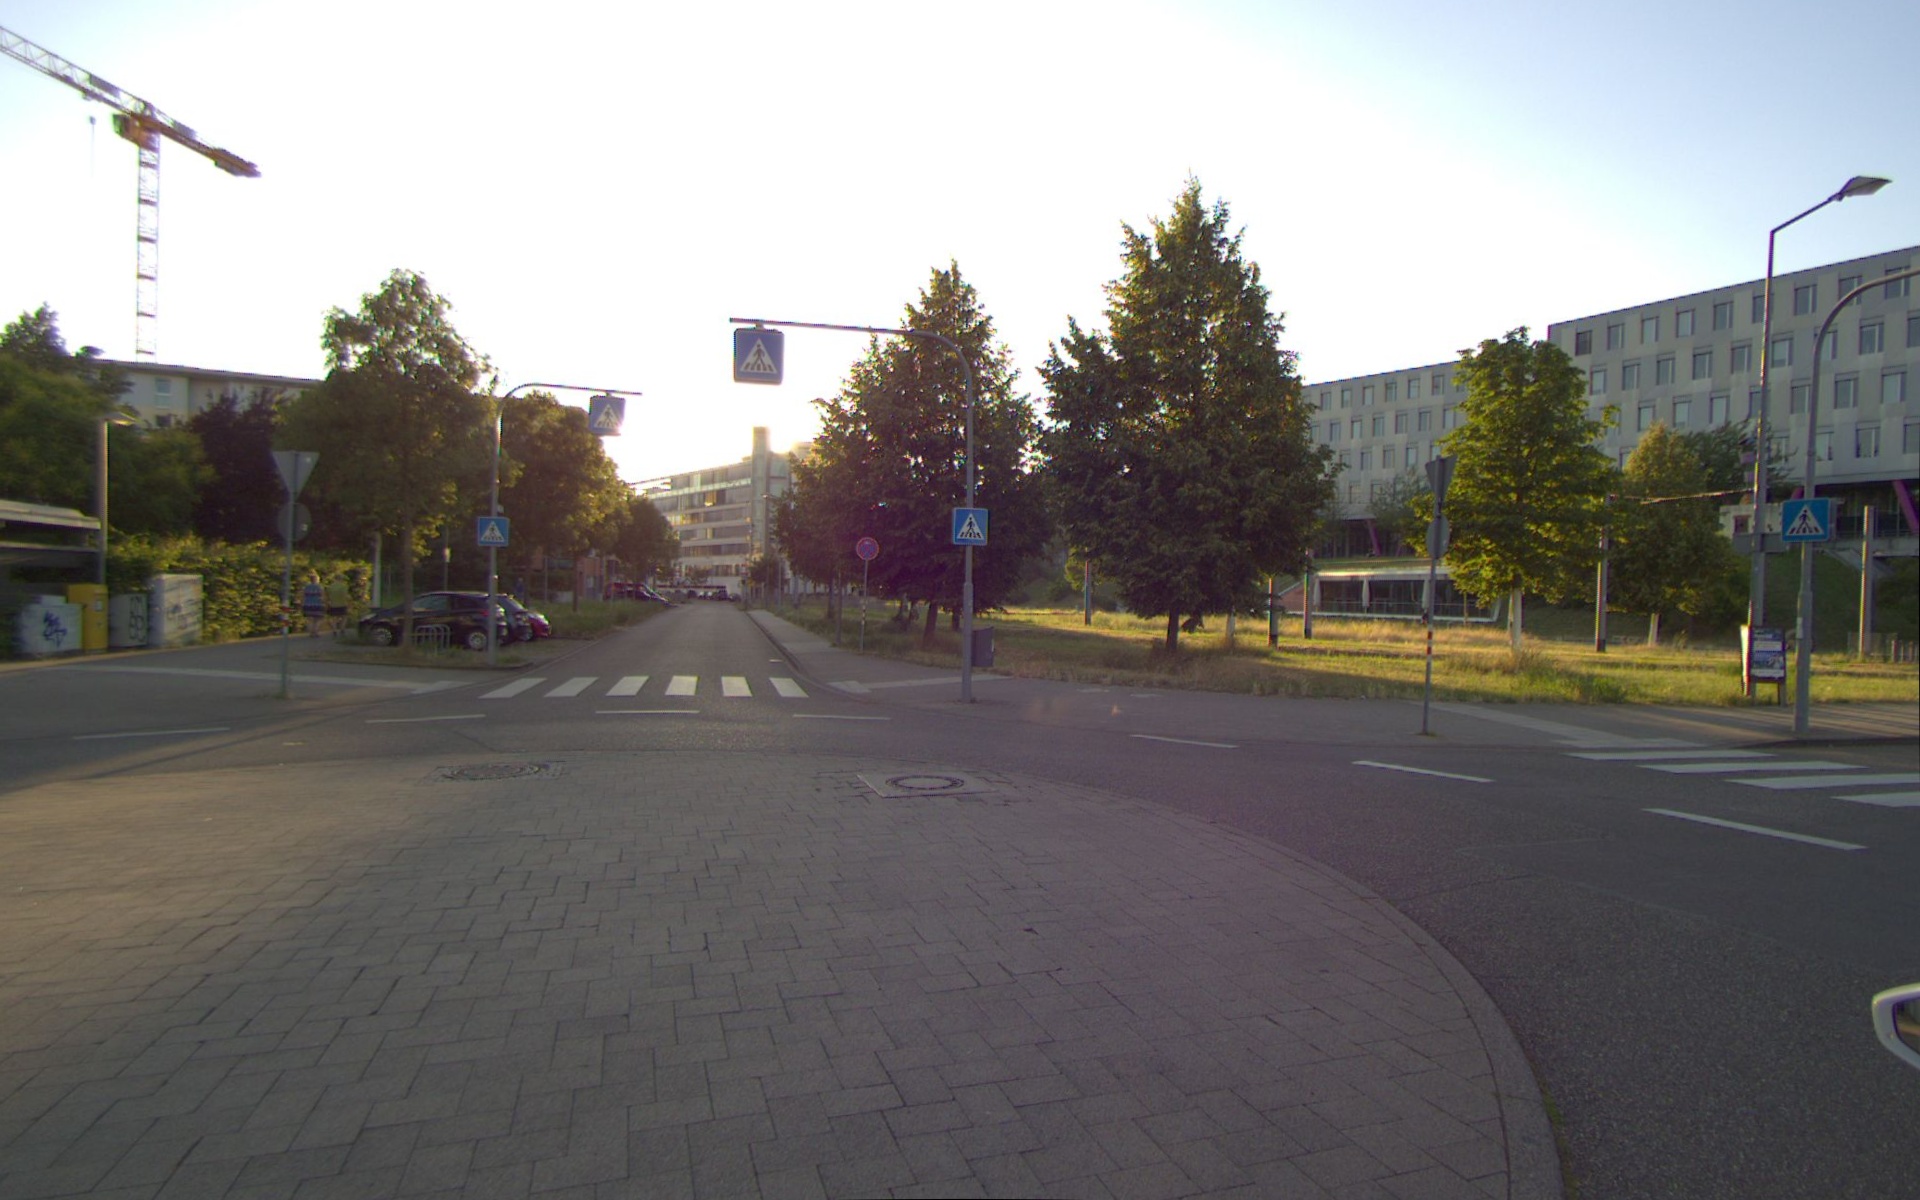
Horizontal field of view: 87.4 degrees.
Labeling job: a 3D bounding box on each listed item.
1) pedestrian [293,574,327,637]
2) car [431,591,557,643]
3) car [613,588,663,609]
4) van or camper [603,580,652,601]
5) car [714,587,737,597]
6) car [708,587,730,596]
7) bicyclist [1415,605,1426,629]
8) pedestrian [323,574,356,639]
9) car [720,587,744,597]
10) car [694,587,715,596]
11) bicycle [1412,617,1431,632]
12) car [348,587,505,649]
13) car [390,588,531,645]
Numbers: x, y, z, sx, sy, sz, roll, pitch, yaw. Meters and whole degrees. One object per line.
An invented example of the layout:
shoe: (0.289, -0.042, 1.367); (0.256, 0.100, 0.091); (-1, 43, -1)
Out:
pedestrian: (-17.005, 0.138, 26.280); (0.651, 1.621, 0.704); (0, 3, -41)
car: (-14.599, 0.527, 31.641); (3.354, 1.520, 1.589); (2, 0, -16)
car: (-25.928, -0.134, 80.905); (3.821, 1.717, 1.694); (0, 1, -21)
van or camper: (-27.678, -0.750, 83.625); (3.821, 1.717, 1.826); (0, 1, -21)
car: (-41.035, -1.396, 175.664); (3.817, 1.635, 1.696); (0, 1, -18)
car: (-43.266, -1.472, 180.249); (3.744, 1.635, 1.645); (0, 1, -18)
bicyclist: (30.249, 1.109, 65.939); (0.417, 1.515, 0.512); (0, 1, -17)
pedestrian: (-16.601, 0.161, 26.866); (0.620, 1.690, 0.734); (0, 3, -41)
car: (-38.925, -1.362, 171.456); (3.817, 1.635, 1.696); (0, 1, -18)
car: (-47.821, -1.661, 187.922); (3.744, 1.635, 1.645); (0, 1, -18)
bicycle: (30.261, 1.585, 65.893); (0.424, 0.912, 1.231); (0, 1, -17)
car: (-14.118, 0.475, 26.750); (3.354, 1.542, 1.685); (2, 0, -16)
car: (-14.284, 0.468, 28.896); (3.354, 1.520, 1.589); (2, 0, -16)
